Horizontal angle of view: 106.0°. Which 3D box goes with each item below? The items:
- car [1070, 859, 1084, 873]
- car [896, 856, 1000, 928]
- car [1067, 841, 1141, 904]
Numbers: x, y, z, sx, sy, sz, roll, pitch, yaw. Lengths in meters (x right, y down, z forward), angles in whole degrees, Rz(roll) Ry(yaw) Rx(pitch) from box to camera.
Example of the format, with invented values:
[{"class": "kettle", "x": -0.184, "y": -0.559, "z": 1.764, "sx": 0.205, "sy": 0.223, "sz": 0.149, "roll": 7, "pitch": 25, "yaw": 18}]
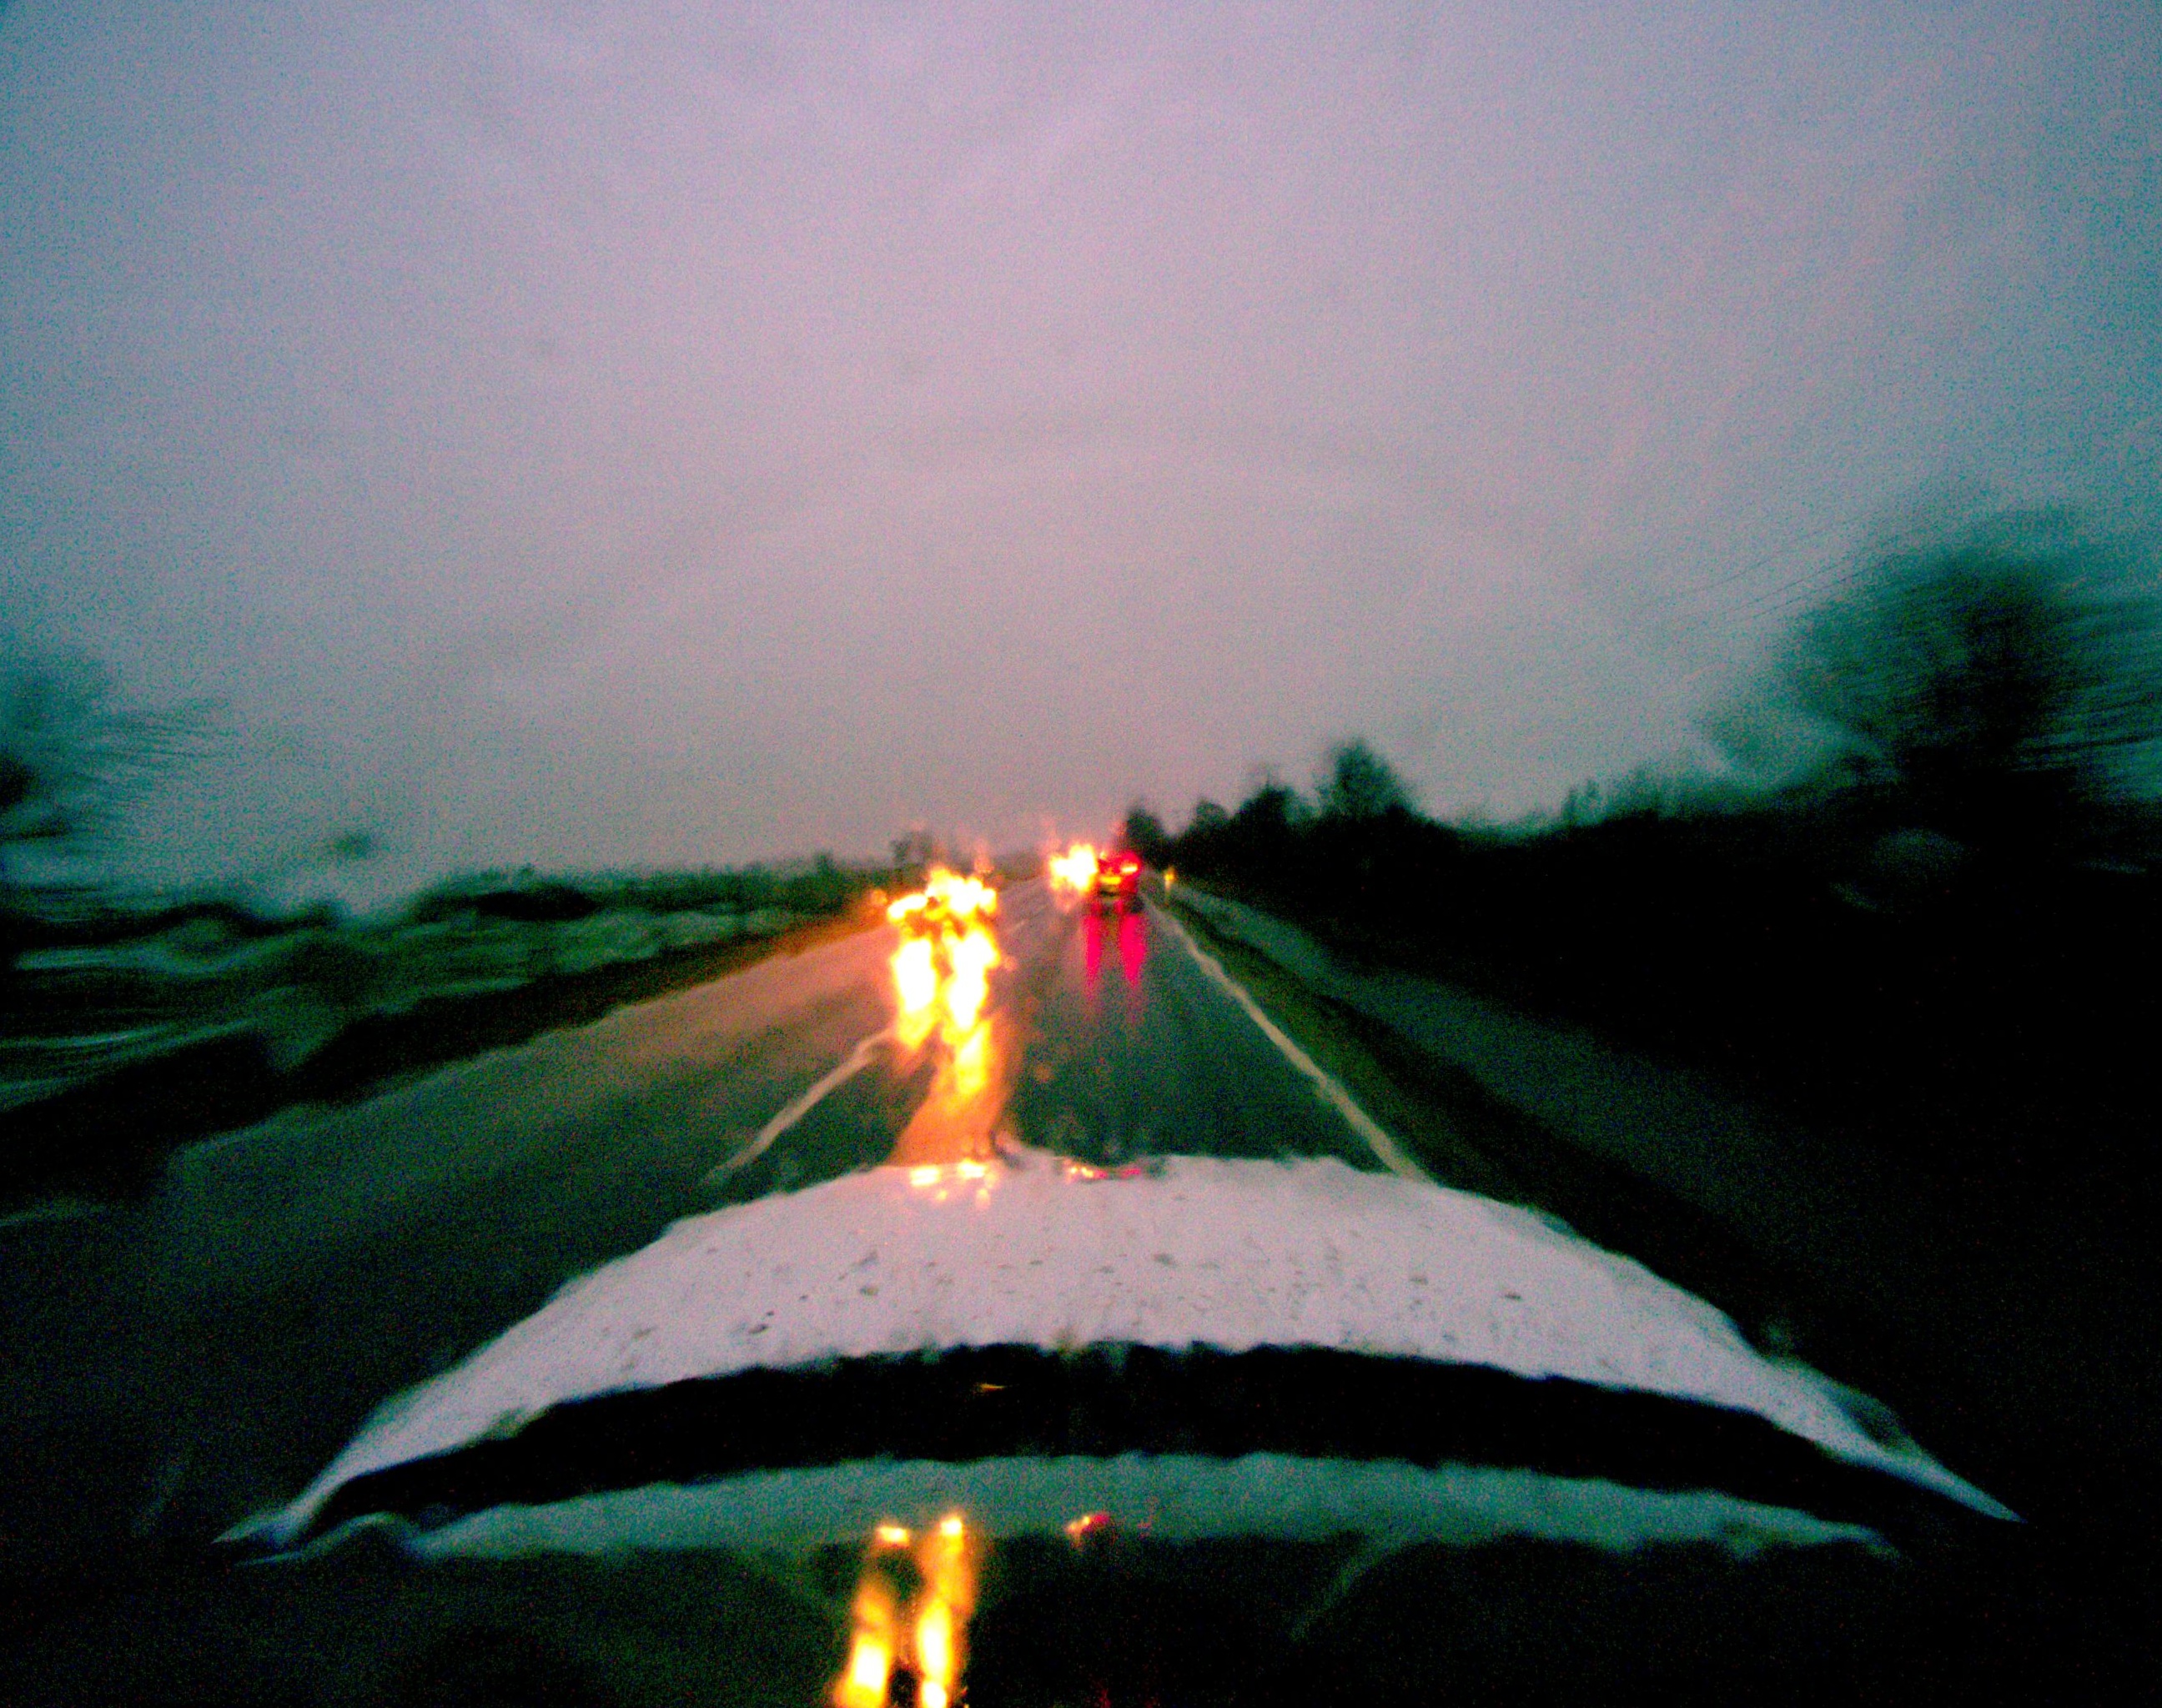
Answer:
[{"class": "car", "x": -0.508, "y": 1.566, "z": 106.849, "sx": 1.789, "sy": 1.686, "sz": 4.187, "roll": -3, "pitch": 0, "yaw": 1}, {"class": "car", "x": -3.065, "y": 0.823, "z": 19.551, "sx": 1.682, "sy": 1.479, "sz": 3.775, "roll": -3, "pitch": 0, "yaw": 2}, {"class": "car", "x": 0.761, "y": 0.572, "z": 26.350, "sx": 2.112, "sy": 1.820, "sz": 4.982, "roll": -1, "pitch": -1, "yaw": 2}]
